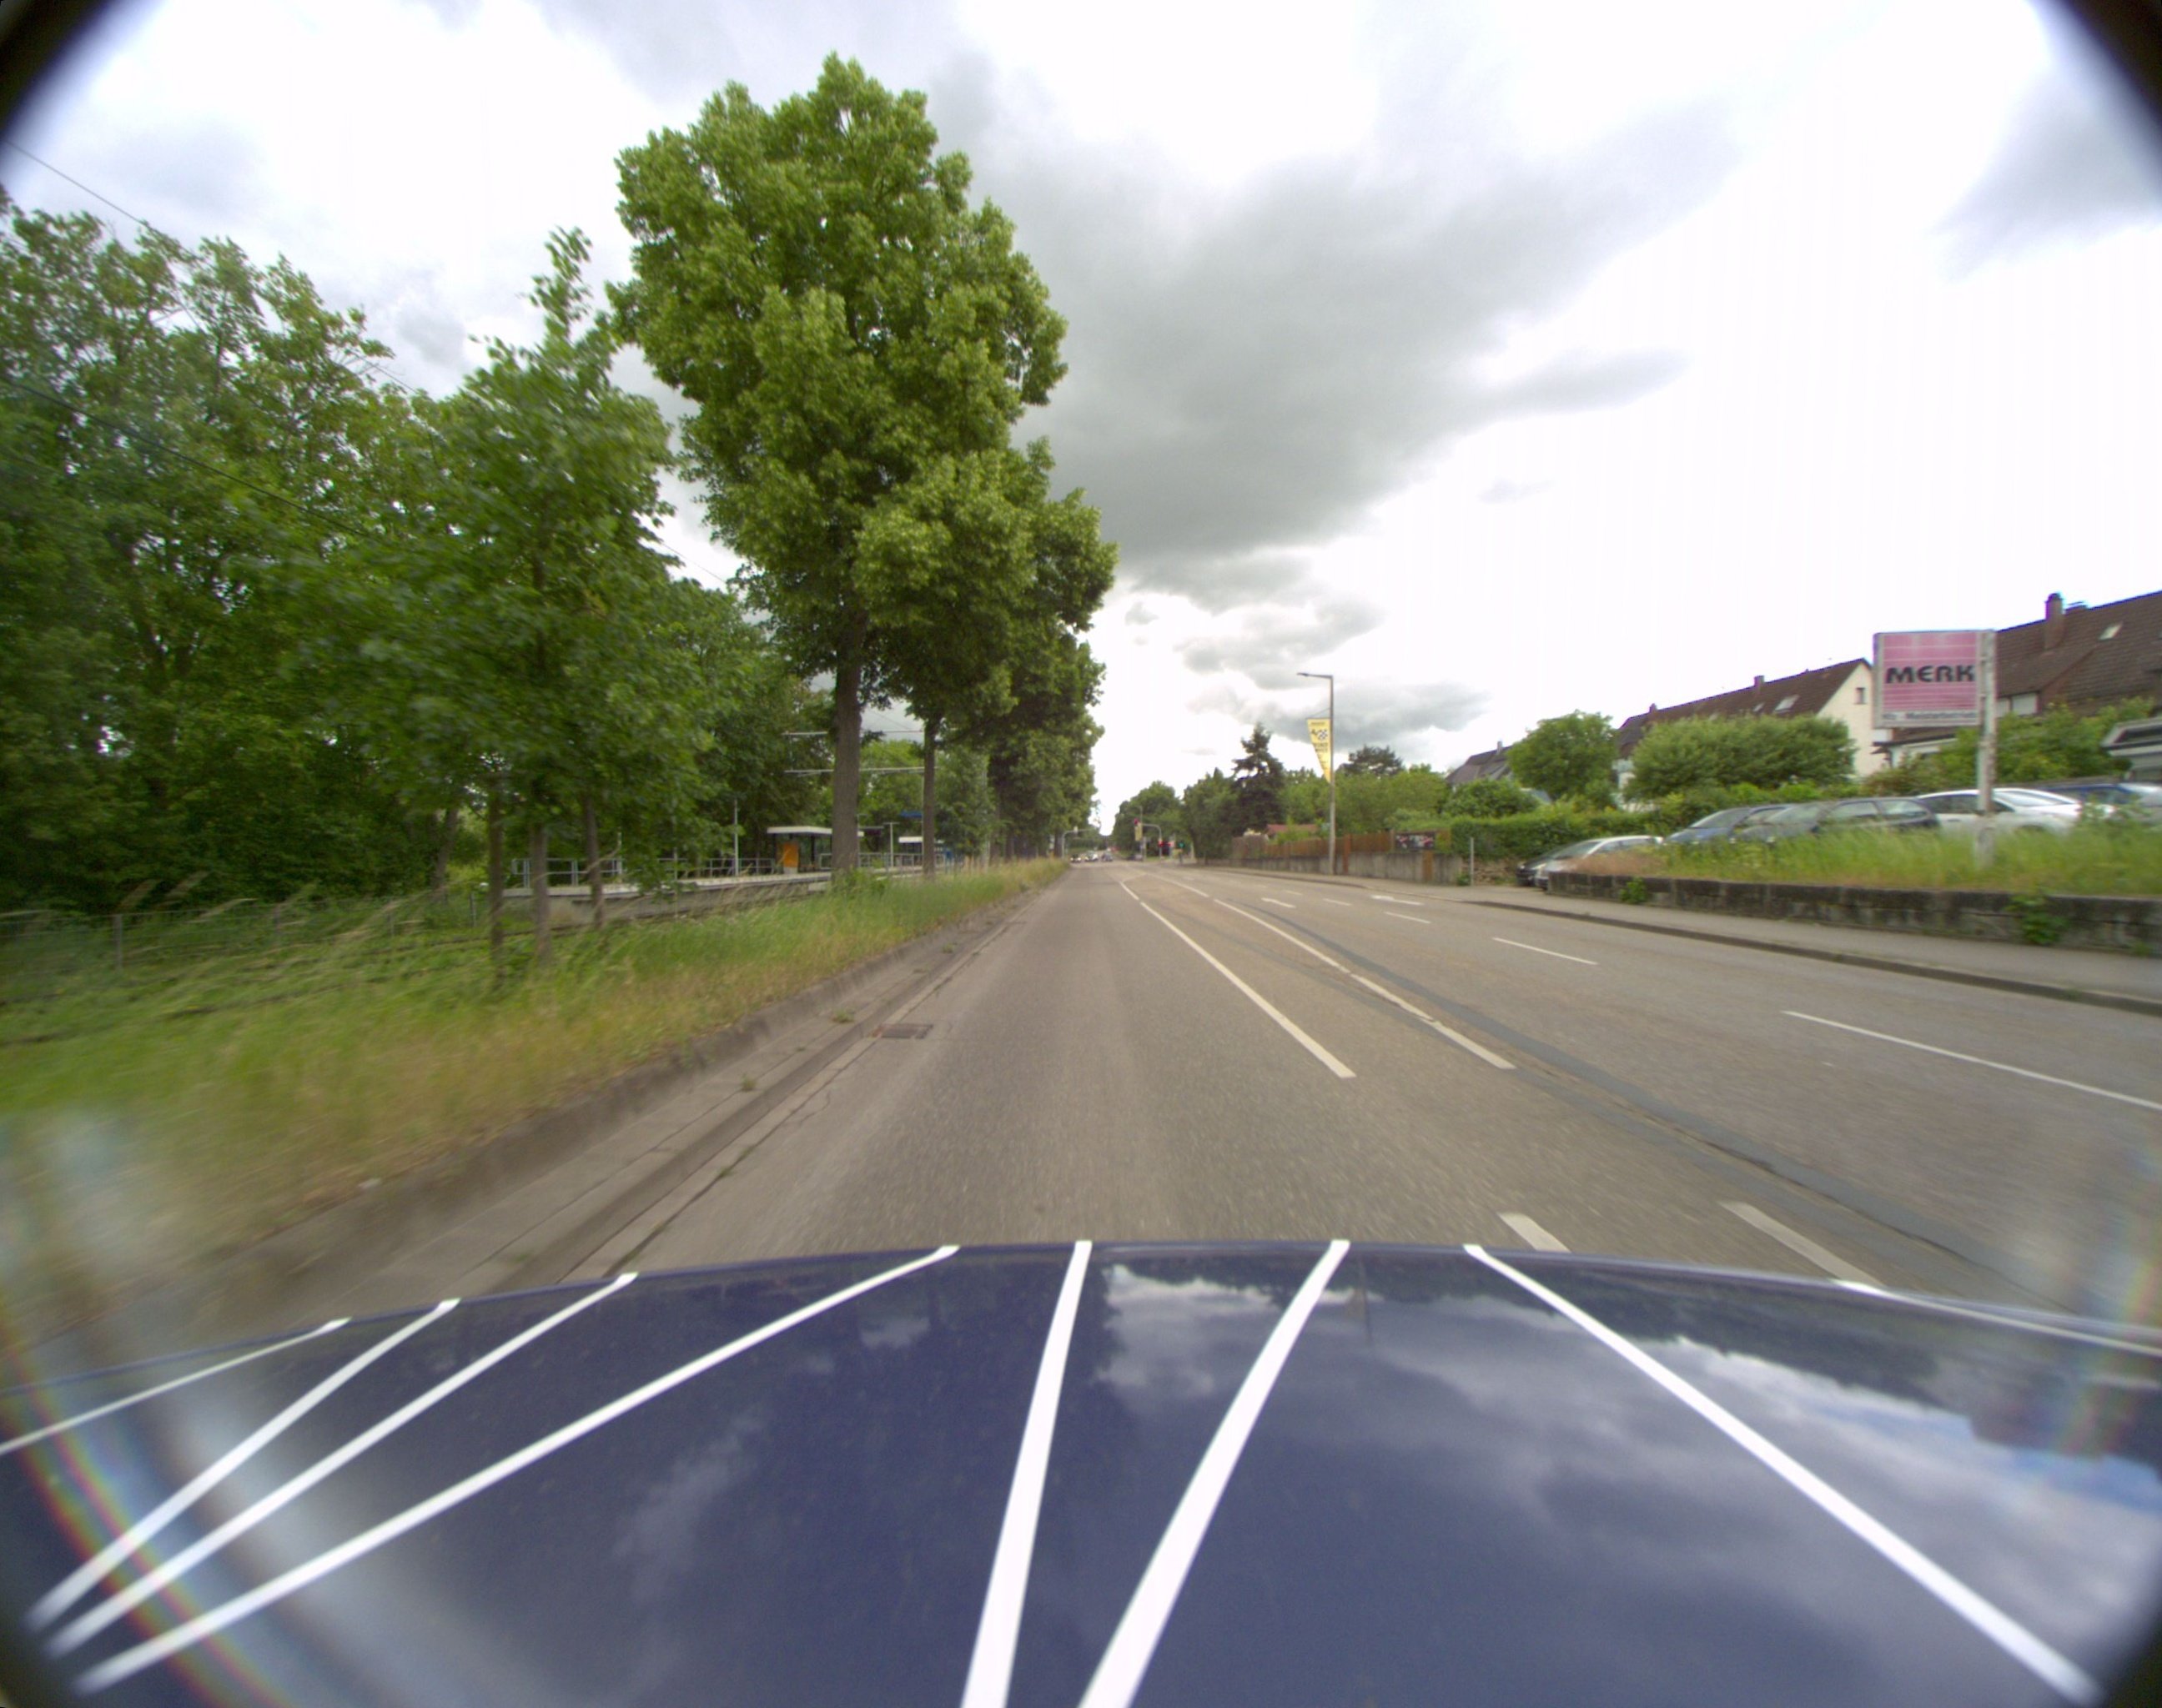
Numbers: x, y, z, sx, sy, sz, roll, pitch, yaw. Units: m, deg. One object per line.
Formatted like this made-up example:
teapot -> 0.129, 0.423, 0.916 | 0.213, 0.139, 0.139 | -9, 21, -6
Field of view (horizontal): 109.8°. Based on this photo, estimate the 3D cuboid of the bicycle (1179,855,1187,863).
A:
bicycle -> 14.391, 0.656, 106.751 | 0.644, 1.138, 2.147 | -3, 0, -4

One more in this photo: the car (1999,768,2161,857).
car -> 18.505, -0.747, 12.672 | 3.848, 1.370, 1.918 | -3, 1, 5

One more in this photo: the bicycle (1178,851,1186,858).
bicycle -> 19.324, 0.010, 144.974 | 0.544, 1.245, 1.939 | -2, 2, 38

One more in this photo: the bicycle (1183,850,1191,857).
bicycle -> 20.133, -0.021, 144.524 | 0.544, 1.245, 1.939 | -2, 2, 38

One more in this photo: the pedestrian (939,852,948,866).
pedestrian -> -14.691, 0.550, 81.121 | 0.720, 1.503, 0.724 | -3, 1, 3

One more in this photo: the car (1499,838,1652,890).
car -> 17.176, 0.324, 26.568 | 3.996, 1.594, 2.000 | -3, 1, 2

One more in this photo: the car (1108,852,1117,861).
car -> 5.826, 0.457, 141.004 | 1.560, 1.458, 3.807 | 1, 0, 0

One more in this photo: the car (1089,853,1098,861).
car -> 2.264, 0.501, 140.975 | 1.708, 1.472, 3.667 | -1, 1, 0

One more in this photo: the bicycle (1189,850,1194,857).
bicycle -> 20.934, -0.054, 144.143 | 0.544, 1.245, 1.937 | -2, 1, 17

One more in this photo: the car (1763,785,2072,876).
car -> 16.164, -0.442, 14.858 | 3.995, 1.484, 1.648 | -3, 1, 5

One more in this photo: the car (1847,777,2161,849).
car -> 20.158, -0.814, 16.829 | 1.852, 1.334, 4.400 | -2, 0, -2

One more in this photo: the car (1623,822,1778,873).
car -> 21.886, -0.223, 26.961 | 3.996, 1.560, 1.775 | -3, 1, 2

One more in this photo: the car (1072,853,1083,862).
car -> -0.588, 0.602, 138.794 | 1.807, 1.520, 3.929 | -2, 1, 2

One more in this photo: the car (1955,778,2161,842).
car -> 22.857, -0.961, 16.999 | 1.673, 1.311, 4.286 | -3, 1, 0

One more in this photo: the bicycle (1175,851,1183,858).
bicycle -> 18.753, 0.028, 145.633 | 0.544, 1.245, 1.939 | -2, 2, 38

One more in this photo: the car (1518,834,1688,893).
car -> 16.515, 0.274, 24.199 | 3.996, 1.608, 2.000 | -3, 1, 2

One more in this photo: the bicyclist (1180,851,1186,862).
bicyclist -> 14.378, 0.360, 106.914 | 0.644, 1.526, 0.978 | -3, 1, -4

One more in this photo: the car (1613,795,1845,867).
car -> 15.770, -0.540, 18.689 | 3.995, 1.488, 1.860 | -3, 1, 5

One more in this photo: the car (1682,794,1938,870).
car -> 15.984, -0.472, 16.818 | 3.995, 1.403, 1.534 | -3, 1, 5

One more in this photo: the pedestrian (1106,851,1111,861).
pedestrian -> 4.731, 0.416, 132.506 | 0.753, 1.727, 0.840 | 2, 1, 5

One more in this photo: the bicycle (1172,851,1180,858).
bicycle -> 18.179, 0.051, 145.892 | 0.544, 1.245, 1.939 | -2, 1, 38
